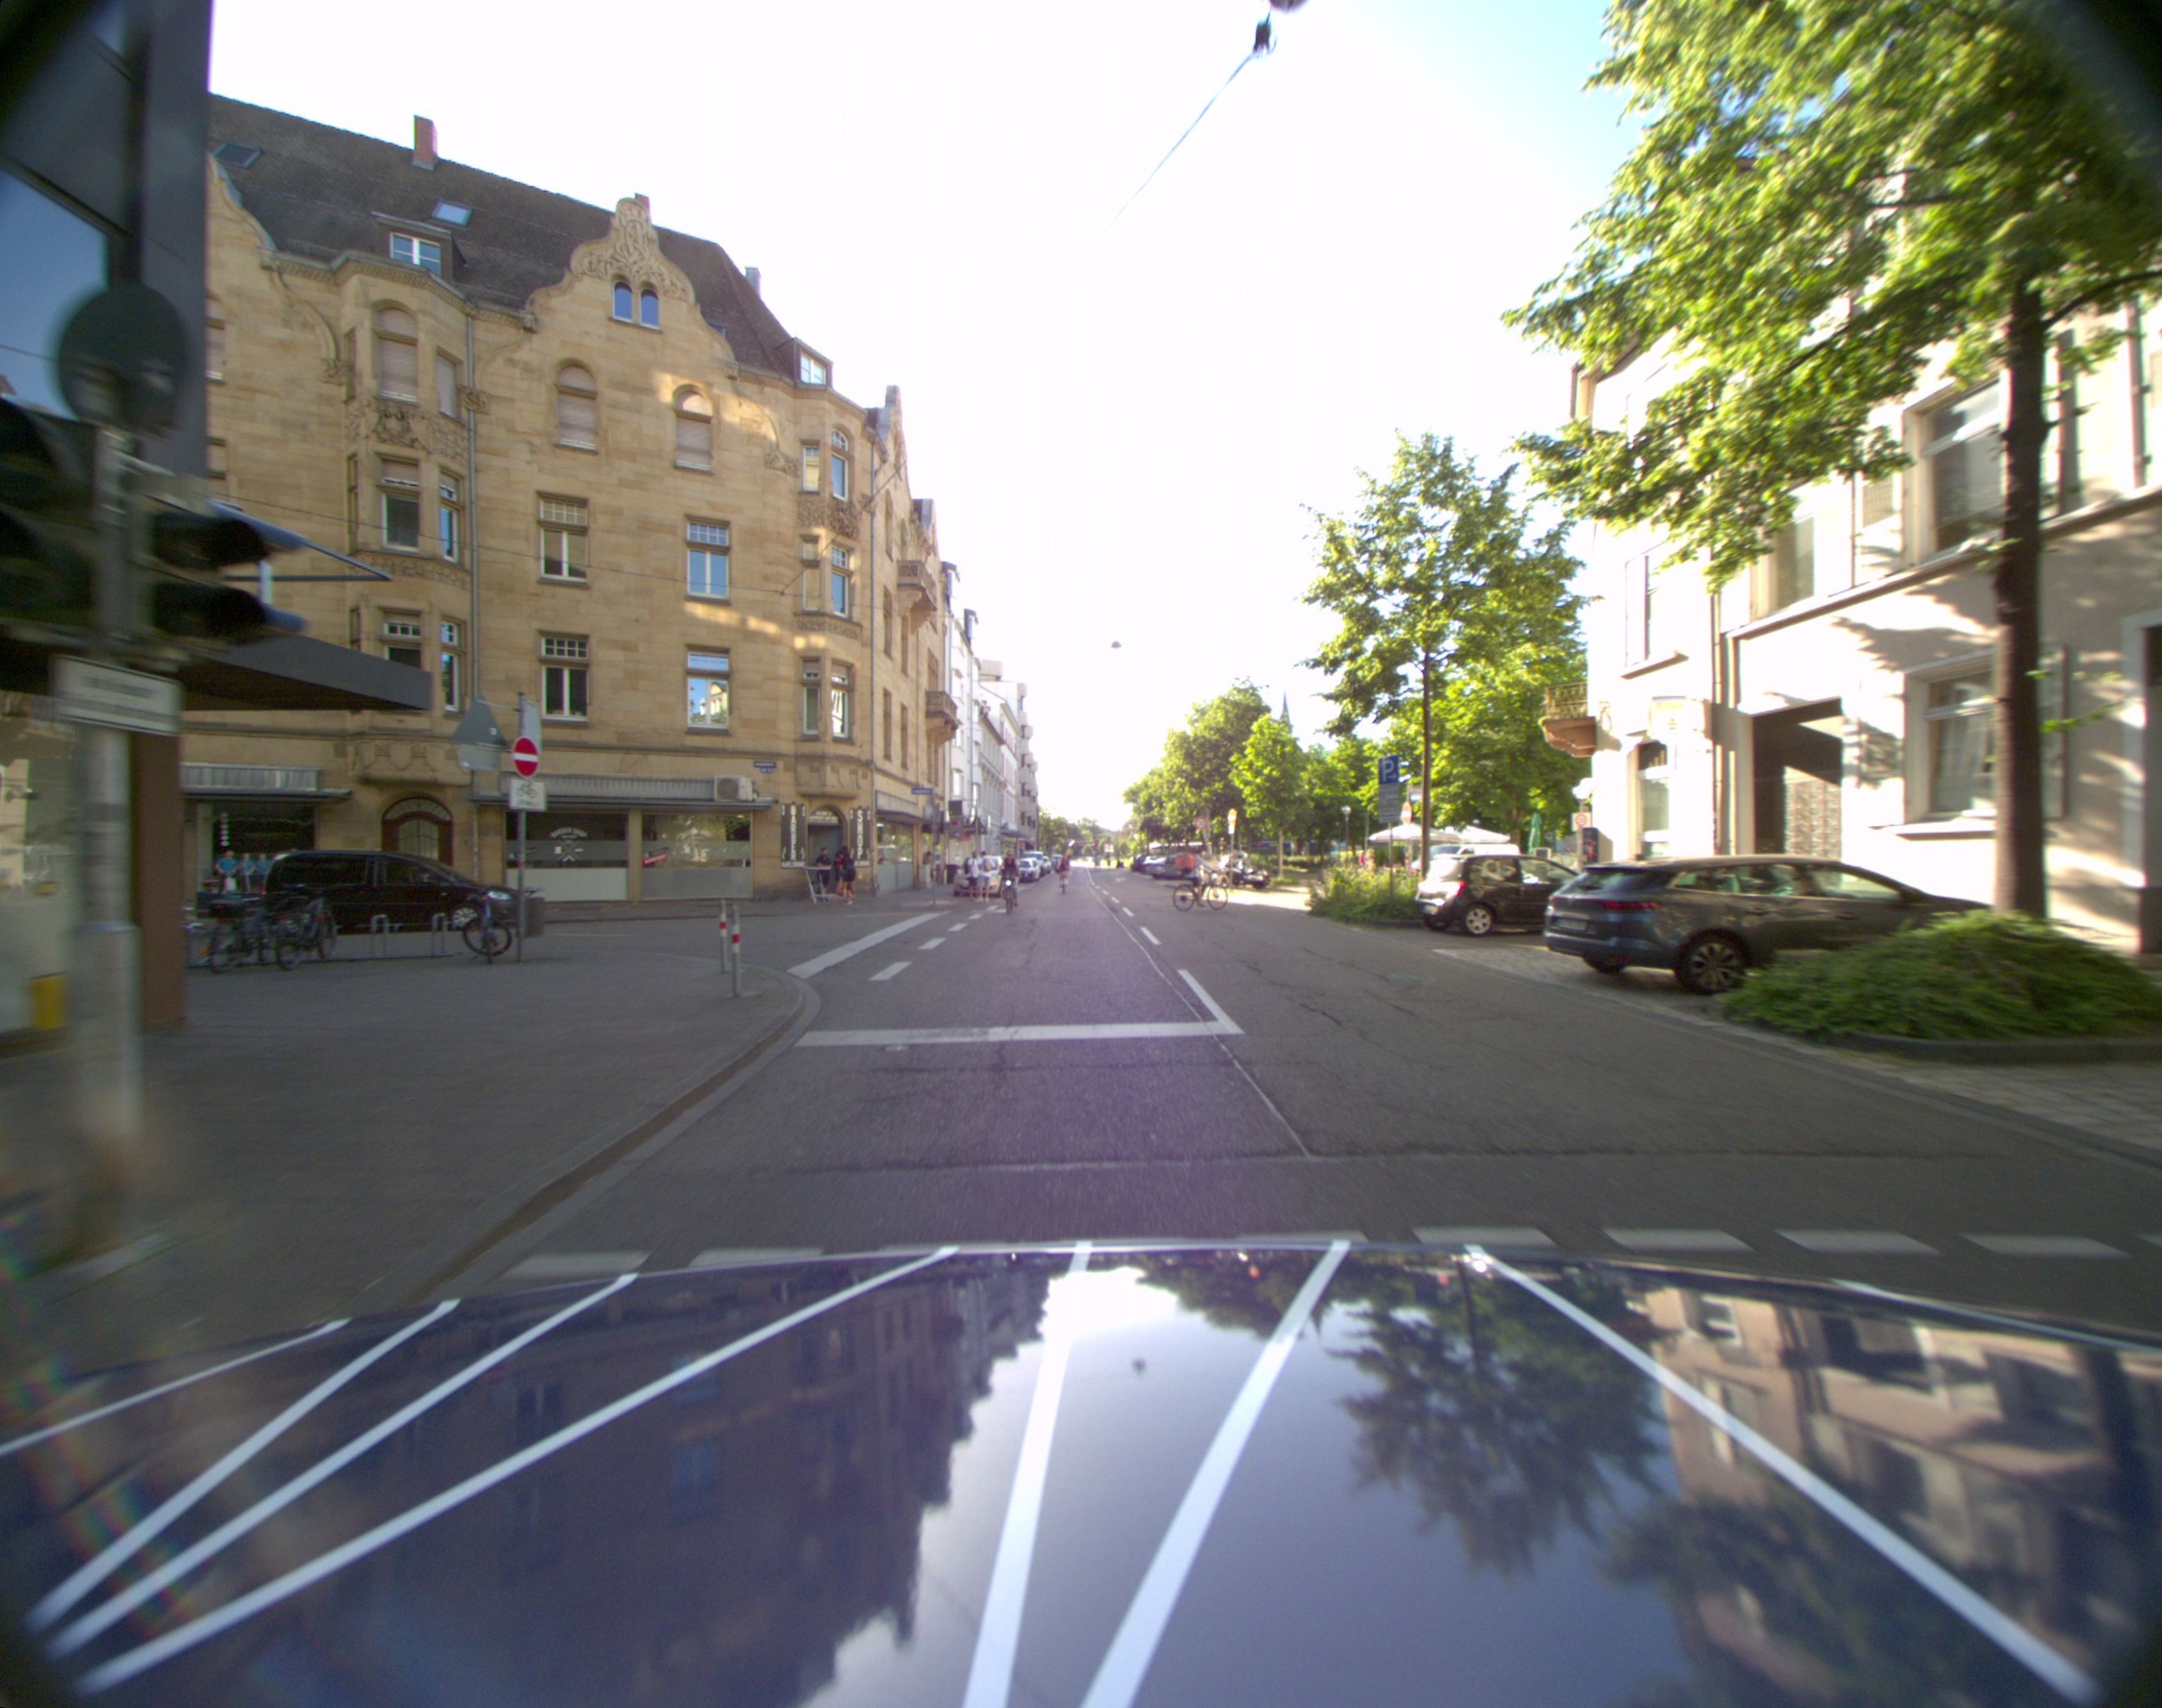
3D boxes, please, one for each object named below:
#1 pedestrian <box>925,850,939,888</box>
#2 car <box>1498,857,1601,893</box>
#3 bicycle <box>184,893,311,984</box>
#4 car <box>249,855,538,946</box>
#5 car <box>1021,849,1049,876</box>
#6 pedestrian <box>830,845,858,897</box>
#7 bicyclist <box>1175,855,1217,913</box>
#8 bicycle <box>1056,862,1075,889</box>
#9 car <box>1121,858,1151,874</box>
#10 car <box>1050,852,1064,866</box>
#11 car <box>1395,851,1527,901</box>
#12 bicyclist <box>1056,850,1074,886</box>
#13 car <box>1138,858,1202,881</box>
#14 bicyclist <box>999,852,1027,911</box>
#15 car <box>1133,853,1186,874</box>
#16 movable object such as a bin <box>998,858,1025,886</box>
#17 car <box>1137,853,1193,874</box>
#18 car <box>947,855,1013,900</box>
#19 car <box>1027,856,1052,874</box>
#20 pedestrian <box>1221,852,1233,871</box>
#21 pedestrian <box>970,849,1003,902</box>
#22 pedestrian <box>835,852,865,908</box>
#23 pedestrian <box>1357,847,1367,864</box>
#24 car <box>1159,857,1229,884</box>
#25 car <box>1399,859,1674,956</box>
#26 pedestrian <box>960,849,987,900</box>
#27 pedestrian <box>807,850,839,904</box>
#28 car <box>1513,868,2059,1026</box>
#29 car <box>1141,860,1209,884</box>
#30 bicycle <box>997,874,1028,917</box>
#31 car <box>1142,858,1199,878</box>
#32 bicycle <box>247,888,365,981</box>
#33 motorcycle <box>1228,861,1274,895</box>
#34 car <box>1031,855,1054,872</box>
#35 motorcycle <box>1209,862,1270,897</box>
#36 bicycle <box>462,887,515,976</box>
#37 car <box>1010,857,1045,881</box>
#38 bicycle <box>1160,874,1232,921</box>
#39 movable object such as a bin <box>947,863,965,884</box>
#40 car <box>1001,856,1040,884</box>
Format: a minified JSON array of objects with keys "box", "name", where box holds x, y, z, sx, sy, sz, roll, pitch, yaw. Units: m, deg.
[{"box":[-6.867,0.664,35.011,0.536,1.732,0.598,-1,1,-4],"name":"pedestrian"},{"box":[20.779,0.919,33.700,4.157,1.508,1.924,1,0,-25],"name":"car"},{"box":[-11.479,1.125,10.538,0.574,1.125,1.923,0,-3,-28],"name":"bicycle"},{"box":[-14.961,0.938,16.906,4.323,1.761,1.996,-1,0,-24],"name":"car"},{"box":[-3.639,0.647,60.478,1.999,1.942,5.100,2,0,-2],"name":"car"},{"box":[-7.871,0.561,25.215,0.498,1.683,0.717,0,1,27],"name":"pedestrian"},{"box":[3.112,0.791,20.637,0.891,1.516,0.667,-1,1,-30],"name":"bicyclist"},{"box":[-0.668,0.928,33.110,0.718,1.105,2.269,0,0,2],"name":"bicycle"},{"box":[5.126,1.098,70.766,1.771,1.421,4.006,-1,0,20],"name":"car"},{"box":[-3.541,0.792,113.617,1.998,2.002,4.000,-1,0,0],"name":"car"},{"box":[15.778,0.878,31.505,5.336,1.933,2.070,1,0,-26],"name":"car"},{"box":[-0.673,0.615,33.065,0.718,1.553,0.864,0,1,2],"name":"bicyclist"},{"box":[6.206,1.046,52.862,4.005,1.465,1.996,-1,0,-26],"name":"car"},{"box":[-1.848,0.730,20.631,0.658,1.562,0.909,-1,0,0],"name":"bicyclist"},{"box":[6.658,0.756,64.422,4.003,1.684,1.997,-1,0,-19],"name":"car"},{"box":[-3.686,0.947,40.352,1.147,1.413,1.411,3,1,4],"name":"movable object such as a bin"},{"box":[6.807,0.756,61.740,4.004,1.635,2.099,-1,2,-20],"name":"car"},{"box":[-3.900,0.857,29.970,1.978,1.565,4.126,2,0,0],"name":"car"},{"box":[-3.527,0.905,65.604,1.999,1.444,3.869,2,0,-1],"name":"car"},{"box":[9.710,0.496,50.513,0.521,1.250,0.525,0,1,-33],"name":"pedestrian"},{"box":[-3.171,0.720,25.537,0.693,1.709,0.897,2,1,24],"name":"pedestrian"},{"box":[-7.121,0.785,23.426,0.617,1.682,0.677,3,3,44],"name":"pedestrian"},{"box":[21.134,0.088,57.171,0.527,1.250,0.519,0,0,-18],"name":"pedestrian"},{"box":[7.072,0.999,47.497,4.006,1.553,1.995,-1,0,-31],"name":"car"},{"box":[8.371,0.935,14.243,3.997,1.630,1.944,-1,0,-1],"name":"car"},{"box":[-3.696,0.702,26.058,0.699,1.709,0.693,2,1,-23],"name":"pedestrian"},{"box":[-8.205,0.717,24.181,0.618,1.683,0.717,0,1,27],"name":"pedestrian"},{"box":[7.665,0.967,8.667,4.349,1.535,1.945,-1,0,2],"name":"car"},{"box":[6.169,1.134,49.715,4.006,1.433,1.995,-1,0,-31],"name":"car"},{"box":[-1.845,1.091,20.640,0.666,1.061,1.836,-1,0,0],"name":"bicycle"},{"box":[6.929,1.054,59.061,4.001,1.465,1.998,-1,0,-13],"name":"car"},{"box":[-10.742,1.083,10.610,0.574,1.154,2.014,0,-3,-28],"name":"bicycle"},{"box":[7.341,1.018,32.795,1.750,1.415,0.831,-1,0,27],"name":"motorcycle"},{"box":[-3.556,0.848,70.452,1.999,1.444,3.955,2,0,-1],"name":"car"},{"box":[6.642,1.045,31.948,2.316,1.415,1.002,-1,0,27],"name":"motorcycle"},{"box":[-8.673,1.081,11.103,0.574,1.154,1.740,0,-1,-39],"name":"bicycle"},{"box":[-3.565,0.962,51.118,1.998,1.482,4.000,2,0,0],"name":"car"},{"box":[3.141,1.158,20.658,1.947,1.151,0.667,-1,1,-30],"name":"bicycle"},{"box":[-6.691,1.054,40.737,0.725,1.042,0.664,3,-1,10],"name":"movable object such as a bin"},{"box":[-3.671,0.939,46.982,1.998,1.565,4.000,2,0,0],"name":"car"}]
